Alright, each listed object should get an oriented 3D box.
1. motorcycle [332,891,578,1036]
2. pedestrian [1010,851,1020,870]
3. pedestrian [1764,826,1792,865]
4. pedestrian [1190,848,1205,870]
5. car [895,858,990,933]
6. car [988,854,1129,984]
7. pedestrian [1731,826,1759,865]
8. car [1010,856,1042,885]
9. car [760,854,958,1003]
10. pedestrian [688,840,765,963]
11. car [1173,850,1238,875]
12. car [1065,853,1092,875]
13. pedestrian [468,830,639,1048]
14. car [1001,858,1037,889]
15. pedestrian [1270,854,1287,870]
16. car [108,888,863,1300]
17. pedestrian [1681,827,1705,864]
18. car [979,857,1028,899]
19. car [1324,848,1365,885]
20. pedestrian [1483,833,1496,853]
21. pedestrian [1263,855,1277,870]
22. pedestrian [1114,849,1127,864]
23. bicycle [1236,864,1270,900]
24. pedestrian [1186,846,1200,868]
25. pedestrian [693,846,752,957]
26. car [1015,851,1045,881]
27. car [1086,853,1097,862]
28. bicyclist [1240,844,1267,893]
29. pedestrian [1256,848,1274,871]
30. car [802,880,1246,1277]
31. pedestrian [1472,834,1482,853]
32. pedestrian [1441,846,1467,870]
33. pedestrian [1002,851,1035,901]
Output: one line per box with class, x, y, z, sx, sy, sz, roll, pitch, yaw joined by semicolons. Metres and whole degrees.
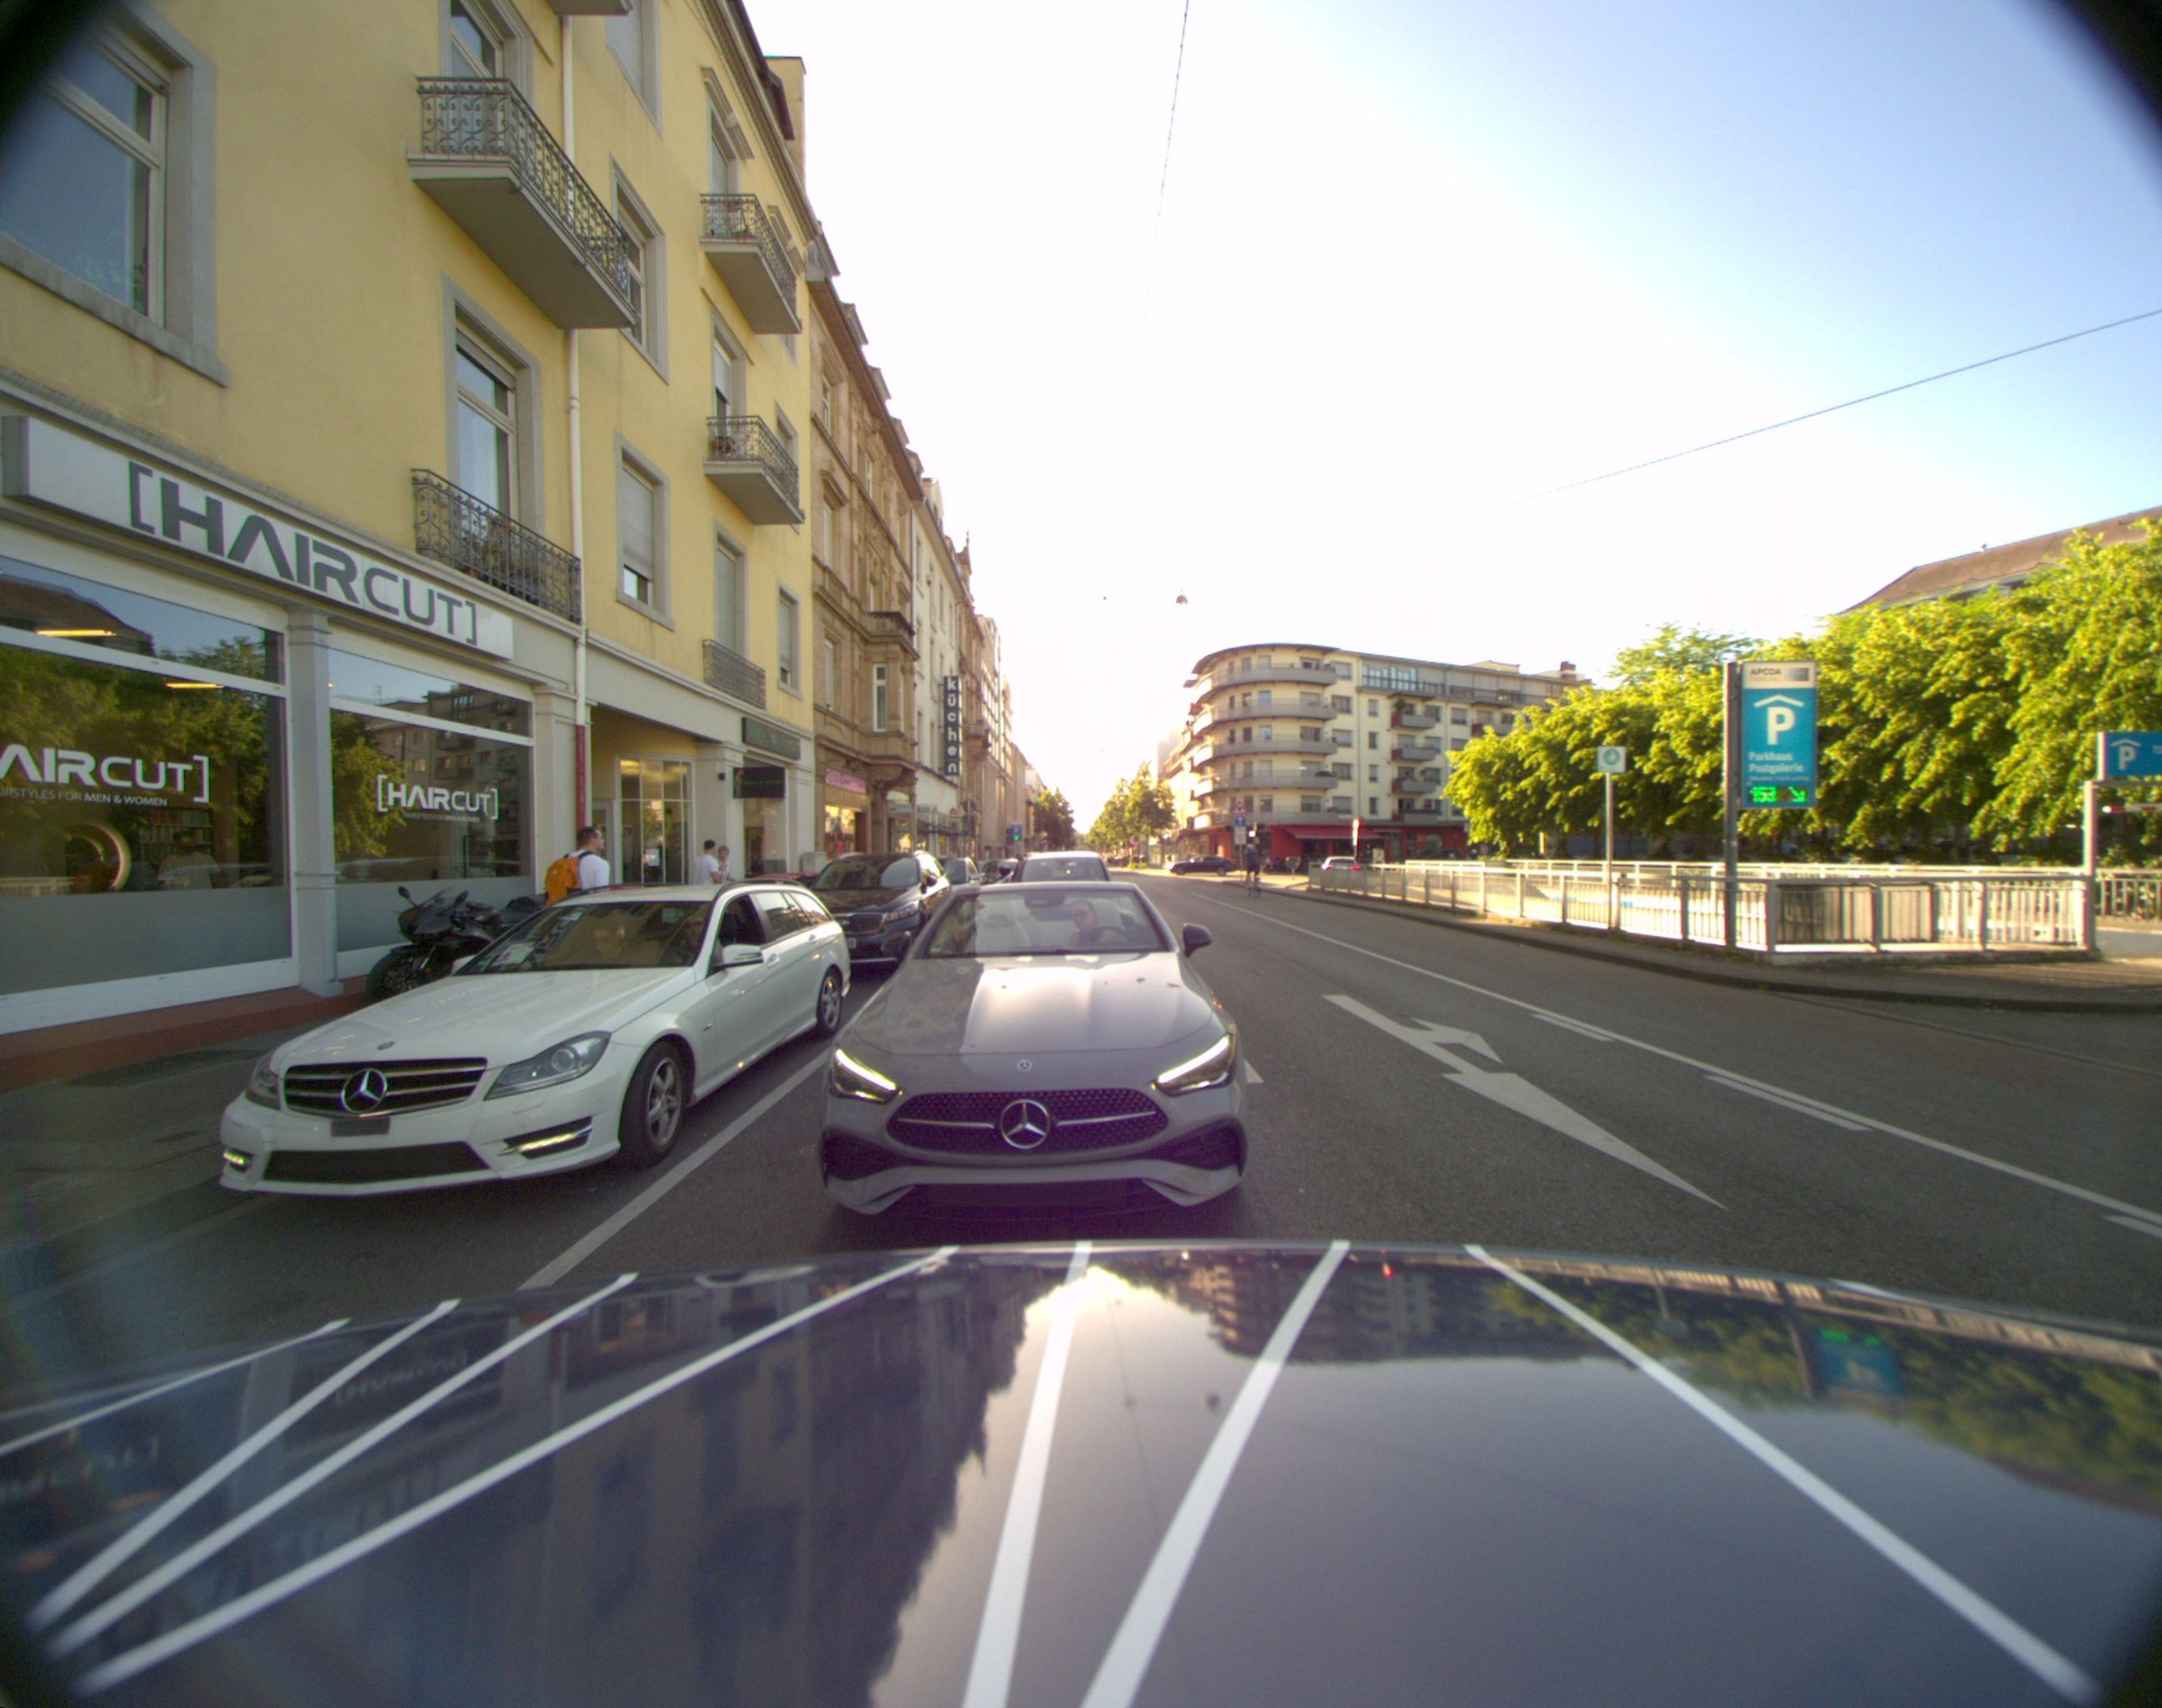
motorcycle;-6.256;1.025;7.795;0.735;1.124;2.109;2;1;1
pedestrian;-6.072;0.606;70.237;0.826;1.750;0.823;-2;1;-1
pedestrian;33.448;-0.428;36.470;0.748;1.832;0.683;-2;1;-13
pedestrian;9.517;0.405;61.930;1.068;1.709;1.081;-2;1;11
car;-3.182;0.906;17.996;1.583;1.514;2.998;-2;1;1
car;-0.366;0.894;12.764;1.866;1.658;4.706;-2;1;-2
pedestrian;32.215;-0.395;36.889;0.748;1.852;0.683;-2;1;-13
car;-2.942;0.866;40.956;1.461;1.391;3.363;-2;1;-1
car;-3.014;0.891;11.344;1.806;1.680;4.408;-2;1;-3
pedestrian;-5.647;0.730;12.108;0.975;1.866;0.534;-3;1;-31
car;8.638;0.572;52.465;4.242;1.521;1.678;-2;1;14
car;-0.192;0.713;54.473;1.695;1.437;3.575;-2;1;-3
pedestrian;-4.724;0.707;6.870;0.810;1.812;0.982;2;1;4
car;-2.954;0.900;36.687;1.461;1.310;3.363;-2;1;-1
pedestrian;15.430;0.651;59.386;0.937;1.191;0.832;-3;1;-24
car;-3.027;1.073;5.253;1.672;1.364;4.377;-2;1;1
pedestrian;31.657;-0.438;39.303;0.748;1.832;0.683;-3;1;-21
car;-3.026;0.903;30.319;1.695;1.482;3.796;-2;1;-3
car;12.260;0.538;35.371;1.635;1.521;3.913;-2;1;19
pedestrian;38.367;-1.006;71.348;0.747;1.832;0.684;-2;1;1
pedestrian;14.923;0.663;60.045;0.780;1.191;0.884;-2;1;-10
pedestrian;4.936;0.309;95.172;1.219;1.826;1.205;-2;1;25
bicycle;6.087;0.971;27.035;0.618;1.156;1.956;1;1;-4
pedestrian;9.777;0.272;66.175;0.990;1.908;0.790;-2;1;-3
pedestrian;-6.149;0.795;13.067;0.630;1.826;0.770;-2;1;-7
car;-3.152;0.716;47.554;1.695;1.670;3.880;-2;1;-3
car;2.099;0.692;153.449;1.836;1.831;3.886;1;1;-2
bicyclist;6.102;0.517;26.906;0.703;1.700;0.809;1;1;-4
pedestrian;14.230;0.417;58.720;0.960;1.739;1.063;-1;1;41
car;-0.282;0.998;5.364;1.769;1.360;4.471;-2;1;-2
pedestrian;38.251;-1.024;73.346;0.746;1.832;0.685;-2;1;24
pedestrian;25.862;0.271;52.660;1.271;1.656;1.140;-2;1;6
pedestrian;-2.235;0.784;27.076;0.836;1.709;0.821;-2;1;19
